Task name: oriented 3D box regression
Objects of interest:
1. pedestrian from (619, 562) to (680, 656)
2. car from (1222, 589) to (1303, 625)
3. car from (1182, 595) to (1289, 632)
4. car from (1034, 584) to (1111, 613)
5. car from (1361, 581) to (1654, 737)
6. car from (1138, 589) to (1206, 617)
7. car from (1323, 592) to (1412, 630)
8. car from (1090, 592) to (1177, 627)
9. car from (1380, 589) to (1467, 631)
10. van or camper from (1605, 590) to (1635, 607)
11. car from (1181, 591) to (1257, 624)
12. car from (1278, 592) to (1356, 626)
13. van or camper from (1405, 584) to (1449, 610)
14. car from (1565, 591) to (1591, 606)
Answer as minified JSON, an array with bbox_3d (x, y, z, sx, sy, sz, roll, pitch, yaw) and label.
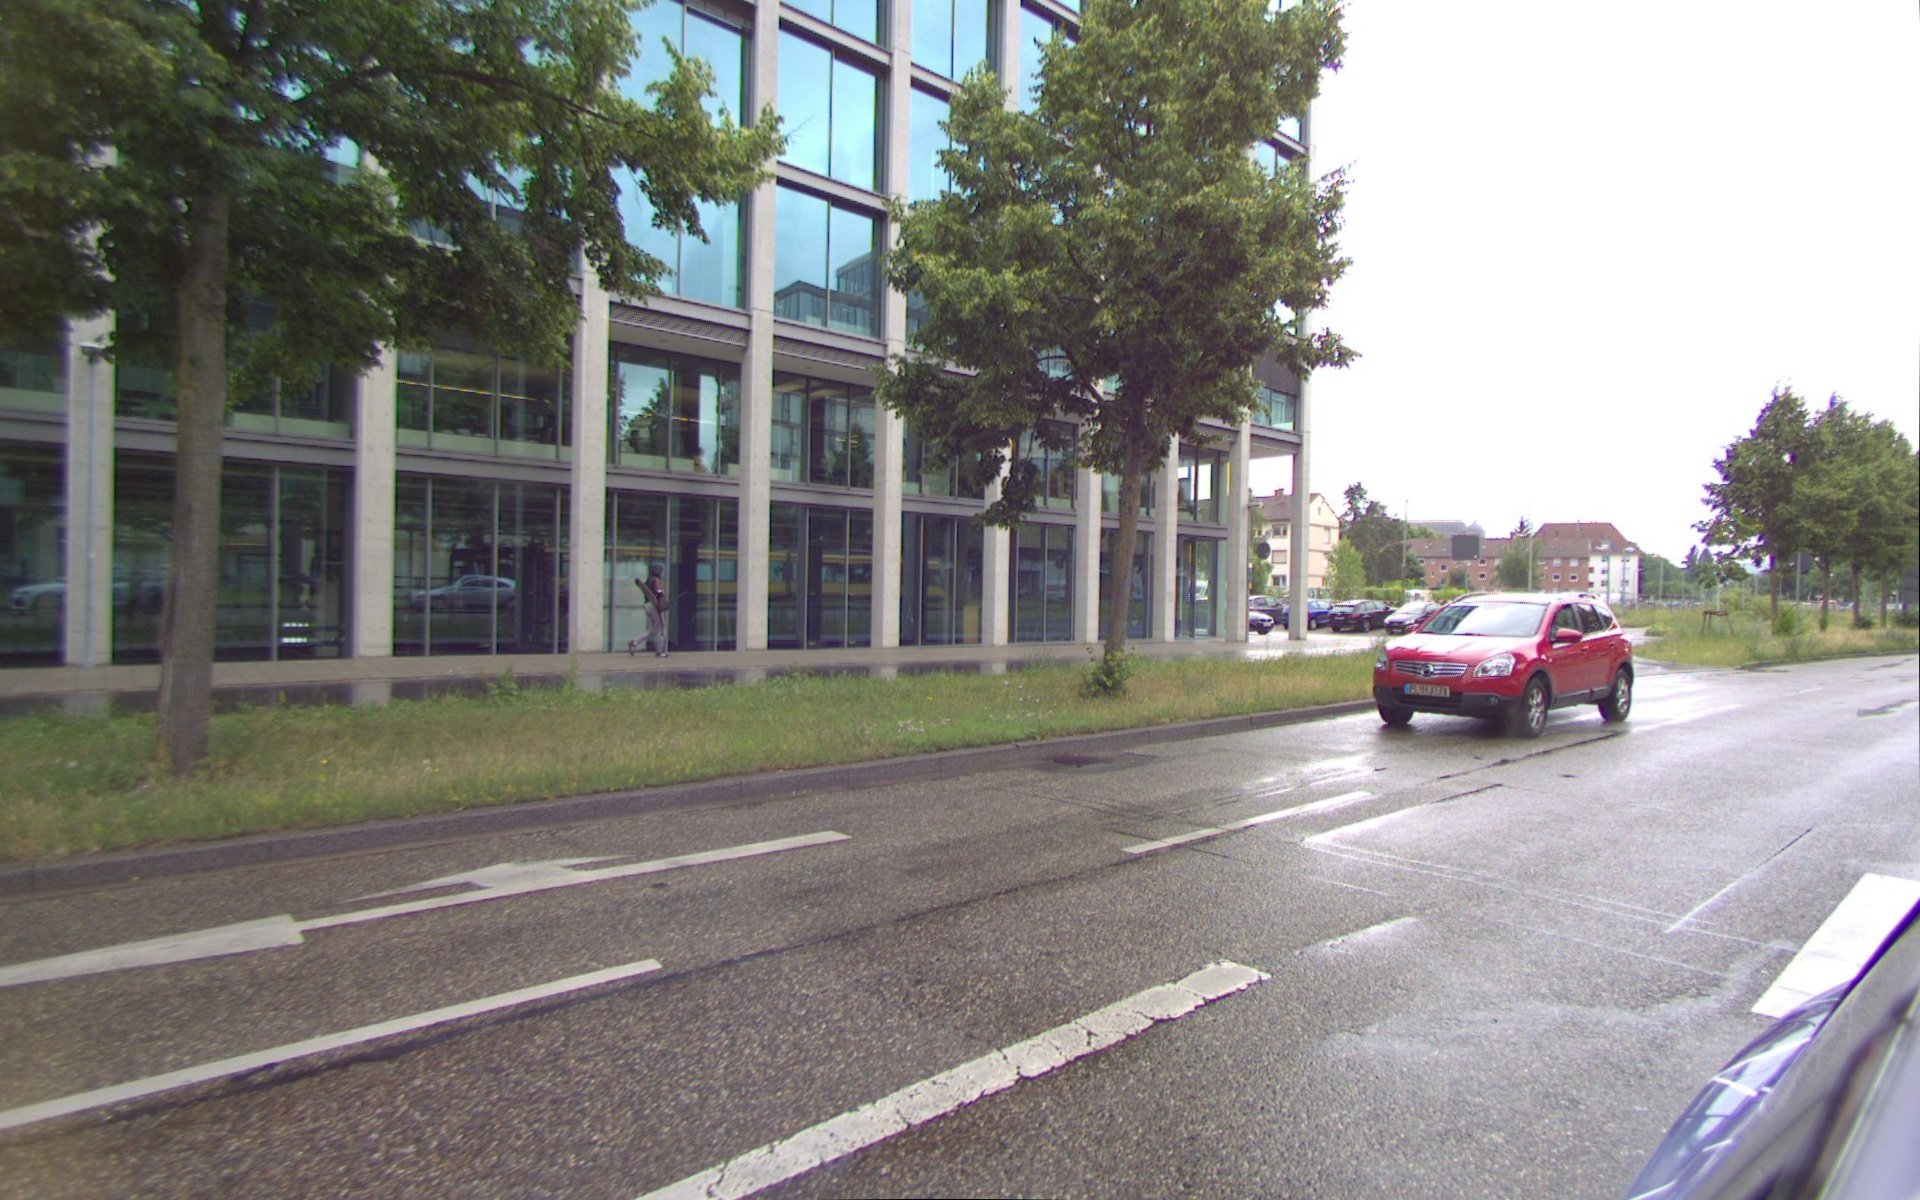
[{"bbox_3d":[-5.922,0.161,19.308,0.846,1.736,0.718,1,2,-42],"label":"pedestrian"},{"bbox_3d":[16.202,0.323,54.135,4.334,1.621,1.861,-4,3,-36],"label":"car"},{"bbox_3d":[12.020,0.570,44.419,1.943,1.456,4.232,3,-1,-35],"label":"car"},{"bbox_3d":[5.848,-0.093,53.023,1.825,1.390,4.000,2,0,-35],"label":"car"},{"bbox_3d":[6.899,0.615,12.580,4.170,1.632,1.798,0,0,-40],"label":"car"},{"bbox_3d":[12.816,0.202,61.089,3.924,1.622,1.861,0,0,-36],"label":"car"},{"bbox_3d":[19.743,0.495,49.006,4.474,1.472,1.861,-5,4,-36],"label":"car"},{"bbox_3d":[8.390,0.441,49.241,1.826,1.507,3.999,3,-1,-37],"label":"car"},{"bbox_3d":[21.417,0.424,46.735,3.925,1.599,1.861,-5,3,-34],"label":"car"},{"bbox_3d":[94.475,-0.203,144.786,6.046,2.337,2.204,0,-1,-44],"label":"van or camper"},{"bbox_3d":[14.347,0.375,56.048,4.152,1.492,1.791,-4,3,-36],"label":"car"},{"bbox_3d":[18.212,0.428,51.603,3.926,1.472,1.861,-3,2,-36],"label":"car"},{"bbox_3d":[52.027,-0.318,112.676,6.289,2.723,2.311,0,1,-43],"label":"van or camper"},{"bbox_3d":[93.182,-0.259,152.474,4.682,2.248,2.273,1,0,-45],"label":"car"}]
